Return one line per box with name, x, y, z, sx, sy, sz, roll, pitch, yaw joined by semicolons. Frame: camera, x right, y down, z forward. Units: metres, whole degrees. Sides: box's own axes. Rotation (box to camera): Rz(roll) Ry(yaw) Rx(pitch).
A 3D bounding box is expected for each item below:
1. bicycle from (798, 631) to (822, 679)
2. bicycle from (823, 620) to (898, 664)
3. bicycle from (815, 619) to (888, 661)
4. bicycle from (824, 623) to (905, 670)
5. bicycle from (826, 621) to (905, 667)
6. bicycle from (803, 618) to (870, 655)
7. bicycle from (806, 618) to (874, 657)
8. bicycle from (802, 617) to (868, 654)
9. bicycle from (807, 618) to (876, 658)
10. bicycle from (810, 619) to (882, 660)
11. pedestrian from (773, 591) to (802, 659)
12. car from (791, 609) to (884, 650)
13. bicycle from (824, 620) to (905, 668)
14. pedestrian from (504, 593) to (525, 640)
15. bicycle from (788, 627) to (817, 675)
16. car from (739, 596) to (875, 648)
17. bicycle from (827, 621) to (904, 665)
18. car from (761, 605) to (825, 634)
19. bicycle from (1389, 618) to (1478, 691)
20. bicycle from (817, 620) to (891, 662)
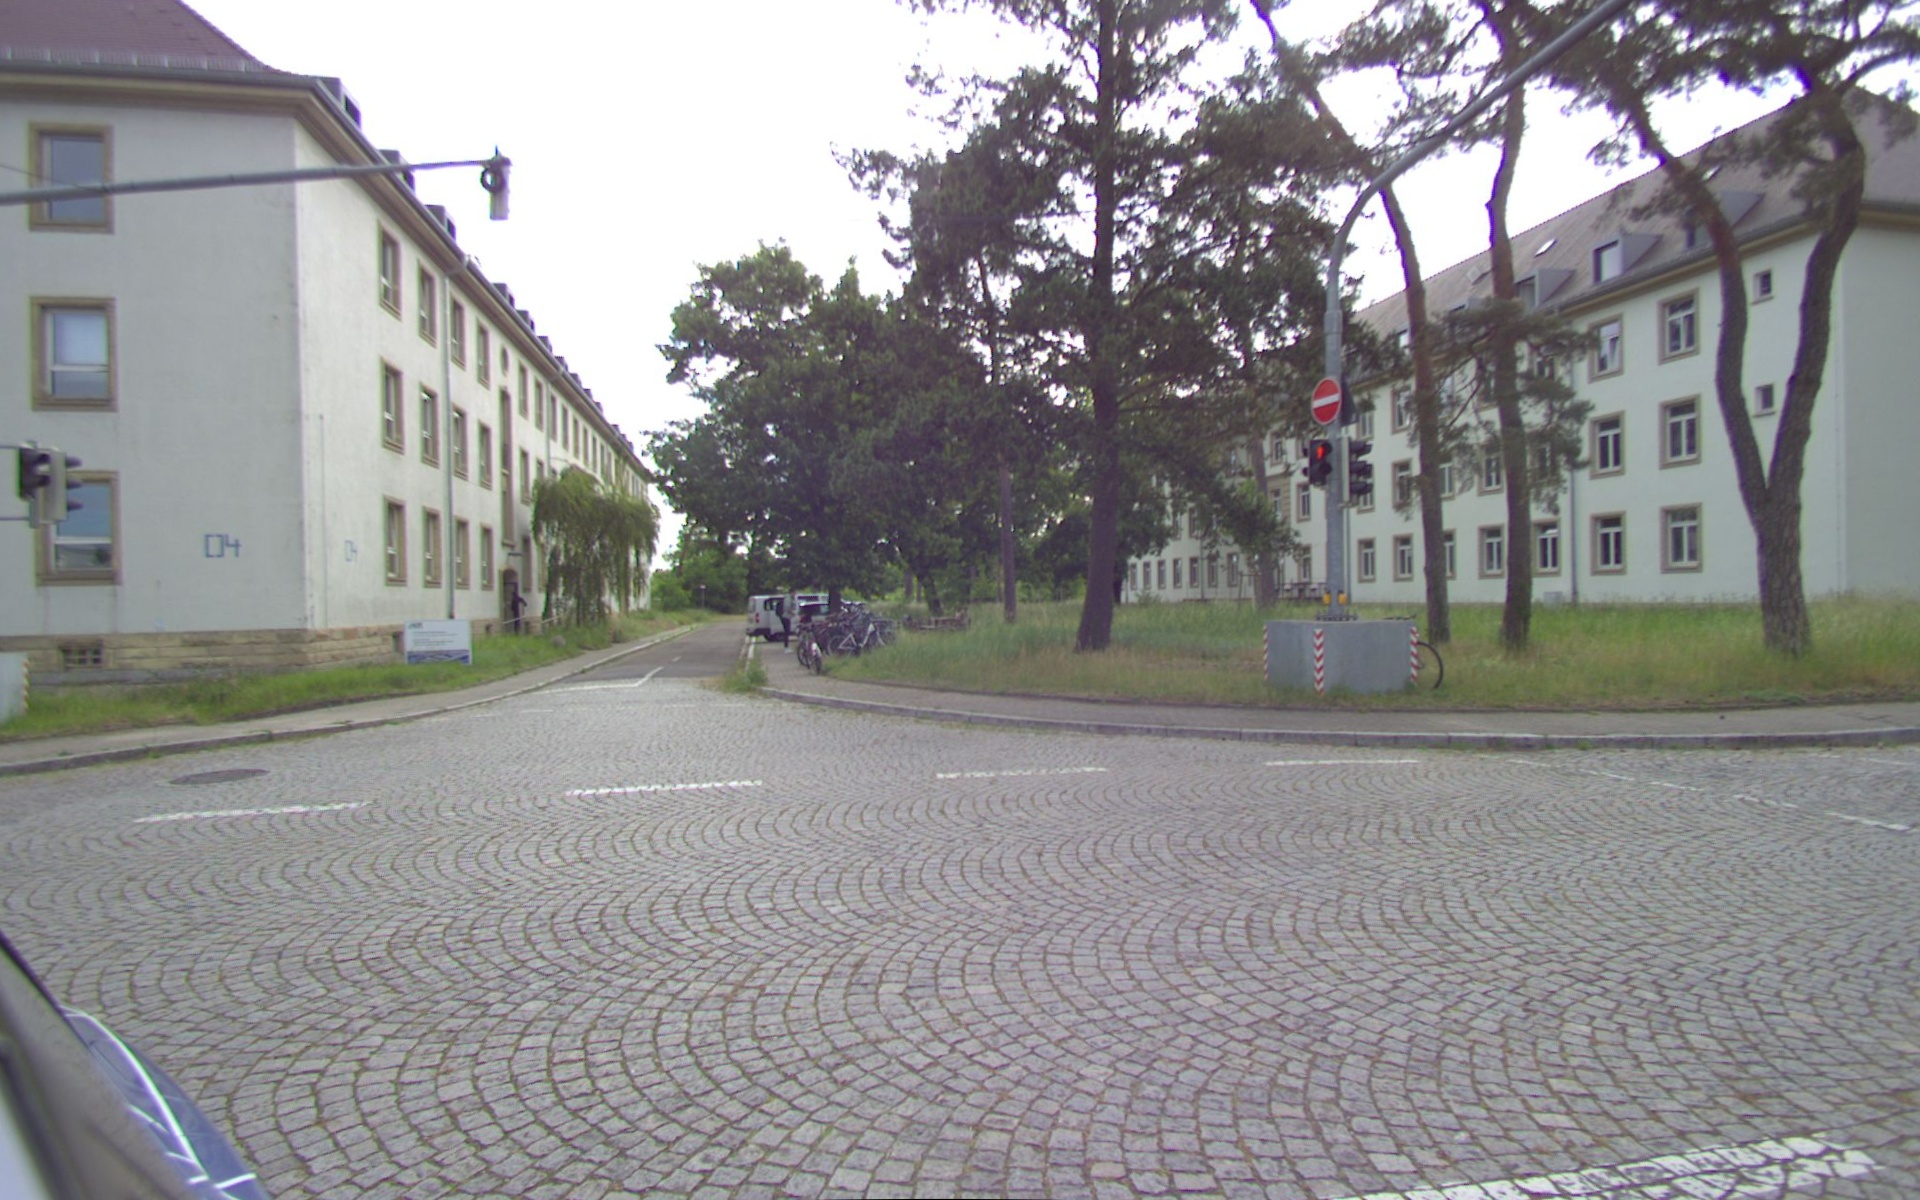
bicycle;-3.086;1.117;20.937;0.453;0.916;1.665;-1;0;-8
bicycle;-2.633;1.100;26.772;1.919;1.073;0.564;-1;-1;-12
bicycle;-2.992;1.093;27.849;1.919;1.073;0.564;-1;-1;-12
bicycle;-2.323;1.112;24.569;1.868;1.073;0.618;-1;-1;-12
bicycle;-2.407;1.106;25.659;1.919;1.073;0.564;-1;-1;-12
bicycle;-3.721;1.085;30.423;1.919;1.073;0.564;-1;-1;-12
bicycle;-3.542;1.087;29.766;1.919;1.073;0.564;-1;-1;-12
bicycle;-3.834;1.082;31.014;1.919;1.073;0.564;-1;-1;-12
bicycle;-3.407;1.090;29.050;1.919;1.073;0.564;-1;-1;-12
bicycle;-3.201;1.092;28.367;1.919;1.073;0.564;-1;-1;-12
pedestrian;-5.040;0.710;29.594;0.781;1.952;0.589;-1;-1;-11
car;-4.781;1.105;39.198;3.385;1.460;1.918;-1;0;-12
bicycle;-2.380;1.085;25.125;1.919;1.119;0.564;-1;-1;-12
pedestrian;-16.569;0.604;37.644;0.560;1.714;0.533;-1;-1;-7
bicycle;-3.529;1.127;22.711;0.453;0.981;1.663;-1;0;-3
car;-6.449;0.897;42.596;5.274;2.014;2.298;-1;0;-19
bicycle;-2.453;1.102;26.311;1.919;1.073;0.564;-1;-1;-12
car;-9.247;1.063;55.881;3.385;1.460;1.918;-1;0;-12
bicycle;6.232;0.698;13.343;0.288;0.923;1.057;-1;-1;-32
bicycle;-2.862;1.094;27.322;1.919;1.073;0.564;-1;-1;-12
